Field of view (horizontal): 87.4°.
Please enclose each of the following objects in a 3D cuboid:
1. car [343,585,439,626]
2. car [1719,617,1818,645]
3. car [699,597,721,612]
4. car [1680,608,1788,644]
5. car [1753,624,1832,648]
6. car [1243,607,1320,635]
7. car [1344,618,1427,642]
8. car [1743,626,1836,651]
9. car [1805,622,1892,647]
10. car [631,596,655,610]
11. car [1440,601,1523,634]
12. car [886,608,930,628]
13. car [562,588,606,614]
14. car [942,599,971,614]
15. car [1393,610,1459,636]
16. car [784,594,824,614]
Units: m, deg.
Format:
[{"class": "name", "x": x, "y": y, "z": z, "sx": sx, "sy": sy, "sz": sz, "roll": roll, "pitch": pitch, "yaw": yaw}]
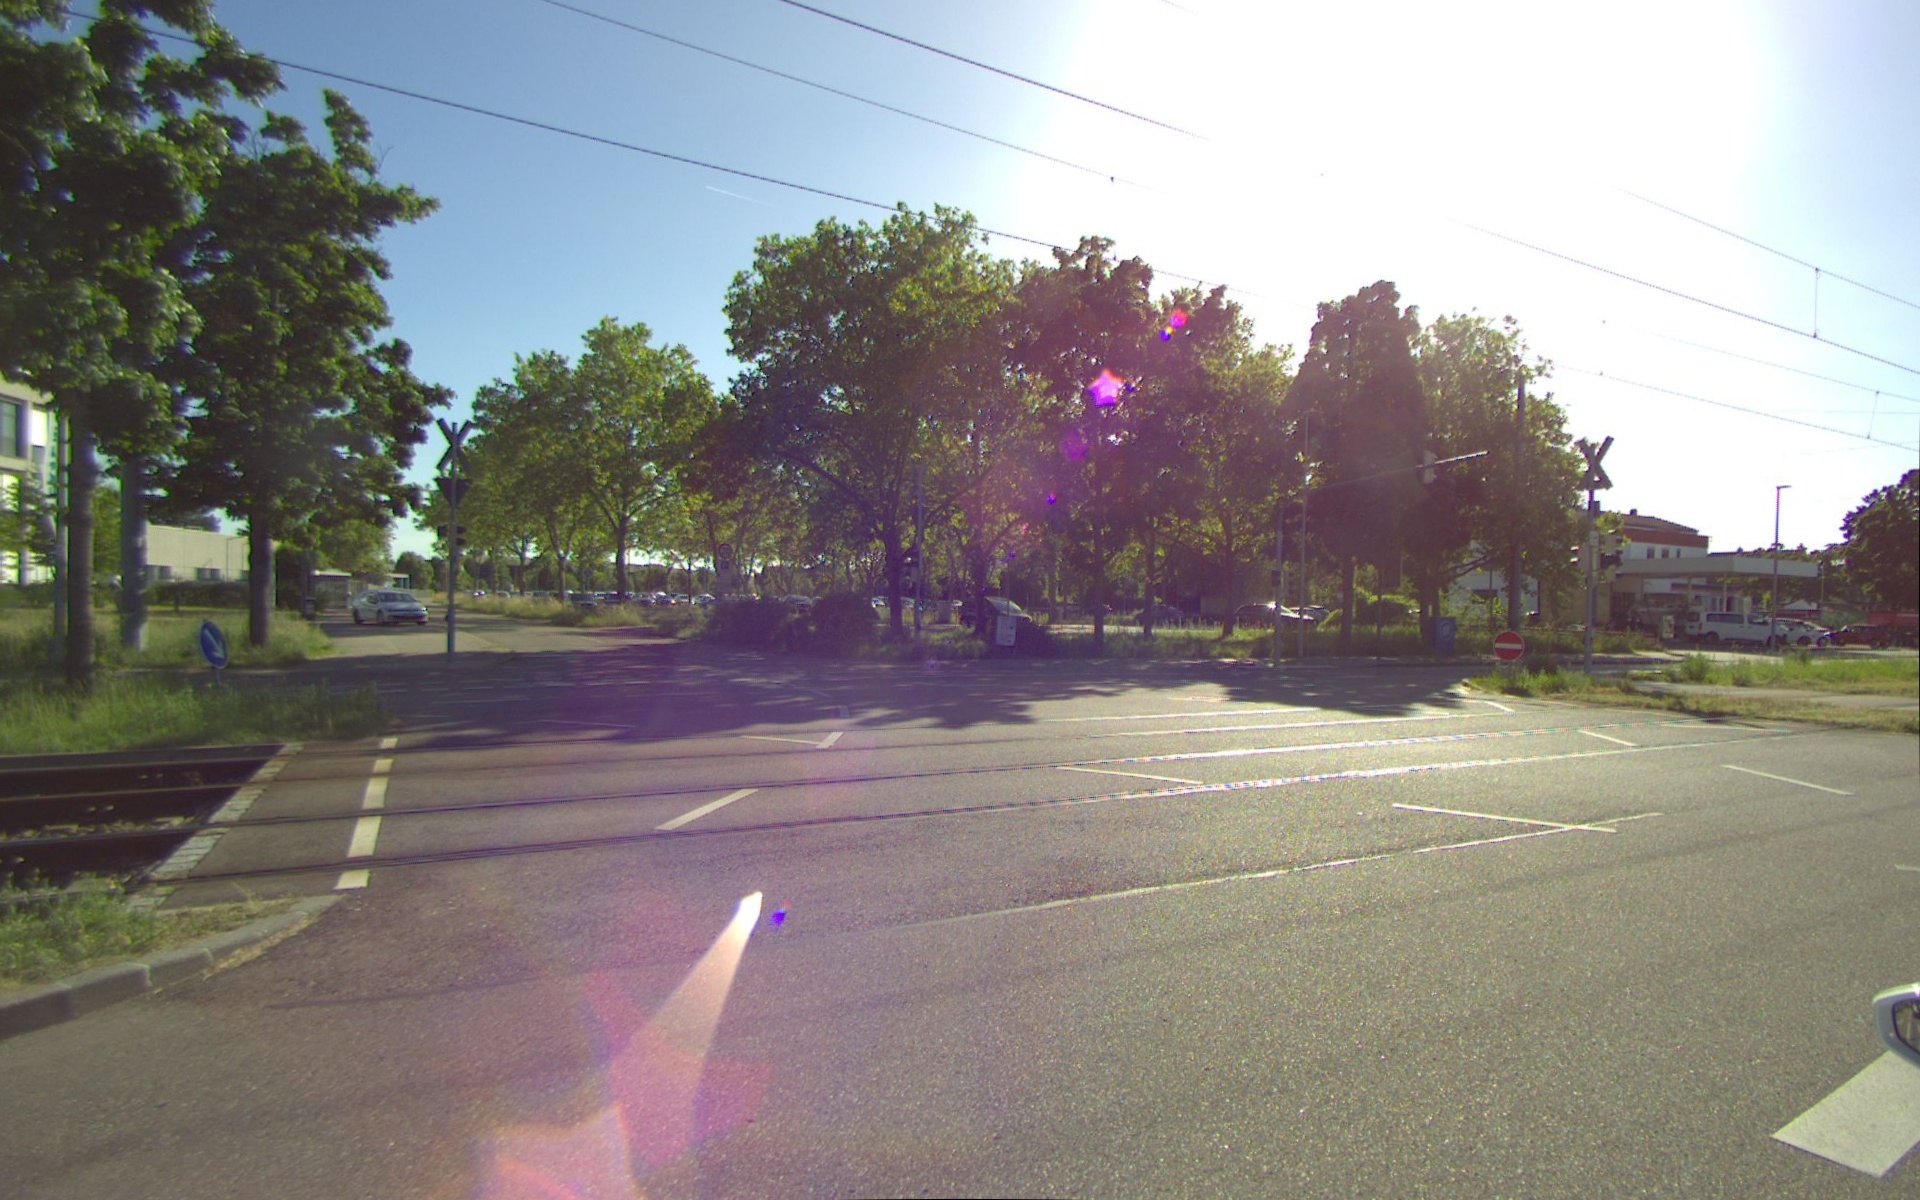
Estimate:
[{"class": "car", "x": -24.239, "y": 0.230, "z": 42.749, "sx": 4.359, "sy": 1.662, "sz": 1.983, "roll": 1, "pitch": 0, "yaw": 37}, {"class": "car", "x": 49.281, "y": 1.870, "z": 61.335, "sx": 4.380, "sy": 1.548, "sz": 1.793, "roll": 1, "pitch": 0, "yaw": 9}, {"class": "car", "x": -28.954, "y": 0.481, "z": 116.237, "sx": 1.804, "sy": 1.627, "sz": 3.978, "roll": 1, "pitch": 0, "yaw": -22}, {"class": "car", "x": 45.474, "y": 1.533, "z": 59.134, "sx": 4.689, "sy": 2.000, "sz": 1.862, "roll": 1, "pitch": 0, "yaw": 9}, {"class": "car", "x": 59.758, "y": 2.570, "z": 72.179, "sx": 1.771, "sy": 1.589, "sz": 4.050, "roll": 1, "pitch": -1, "yaw": -30}, {"class": "car", "x": 17.802, "y": 1.148, "z": 55.747, "sx": 1.648, "sy": 1.451, "sz": 3.942, "roll": 1, "pitch": -1, "yaw": -33}, {"class": "car", "x": 23.363, "y": 1.632, "z": 55.283, "sx": 1.648, "sy": 1.182, "sz": 3.942, "roll": 1, "pitch": 0, "yaw": -32}, {"class": "car", "x": 52.600, "y": 2.422, "z": 63.732, "sx": 4.382, "sy": 1.490, "sz": 1.792, "roll": 1, "pitch": 0, "yaw": 1}, {"class": "car", "x": 59.563, "y": 2.302, "z": 67.402, "sx": 1.771, "sy": 1.589, "sz": 4.050, "roll": 1, "pitch": -1, "yaw": -30}, {"class": "car", "x": -35.314, "y": 0.330, "z": 111.926, "sx": 1.963, "sy": 1.570, "sz": 4.404, "roll": 1, "pitch": -1, "yaw": -25}, {"class": "car", "x": 35.278, "y": 1.155, "z": 68.044, "sx": 1.997, "sy": 2.119, "sz": 4.699, "roll": 1, "pitch": 0, "yaw": -29}, {"class": "car", "x": -4.190, "y": 1.418, "z": 80.494, "sx": 1.728, "sy": 1.468, "sz": 3.941, "roll": 1, "pitch": 0, "yaw": -33}, {"class": "car", "x": -25.822, "y": 0.079, "z": 68.928, "sx": 1.813, "sy": 1.690, "sz": 3.959, "roll": 1, "pitch": 0, "yaw": -36}, {"class": "car", "x": -0.415, "y": 0.699, "z": 112.929, "sx": 1.804, "sy": 1.627, "sz": 3.978, "roll": 1, "pitch": 0, "yaw": -22}, {"class": "car", "x": 29.496, "y": 1.466, "z": 63.626, "sx": 4.034, "sy": 1.565, "sz": 1.572, "roll": 2, "pitch": 0, "yaw": -26}, {"class": "car", "x": -13.587, "y": 0.327, "z": 87.348, "sx": 1.813, "sy": 1.690, "sz": 3.959, "roll": 1, "pitch": 0, "yaw": -36}]
